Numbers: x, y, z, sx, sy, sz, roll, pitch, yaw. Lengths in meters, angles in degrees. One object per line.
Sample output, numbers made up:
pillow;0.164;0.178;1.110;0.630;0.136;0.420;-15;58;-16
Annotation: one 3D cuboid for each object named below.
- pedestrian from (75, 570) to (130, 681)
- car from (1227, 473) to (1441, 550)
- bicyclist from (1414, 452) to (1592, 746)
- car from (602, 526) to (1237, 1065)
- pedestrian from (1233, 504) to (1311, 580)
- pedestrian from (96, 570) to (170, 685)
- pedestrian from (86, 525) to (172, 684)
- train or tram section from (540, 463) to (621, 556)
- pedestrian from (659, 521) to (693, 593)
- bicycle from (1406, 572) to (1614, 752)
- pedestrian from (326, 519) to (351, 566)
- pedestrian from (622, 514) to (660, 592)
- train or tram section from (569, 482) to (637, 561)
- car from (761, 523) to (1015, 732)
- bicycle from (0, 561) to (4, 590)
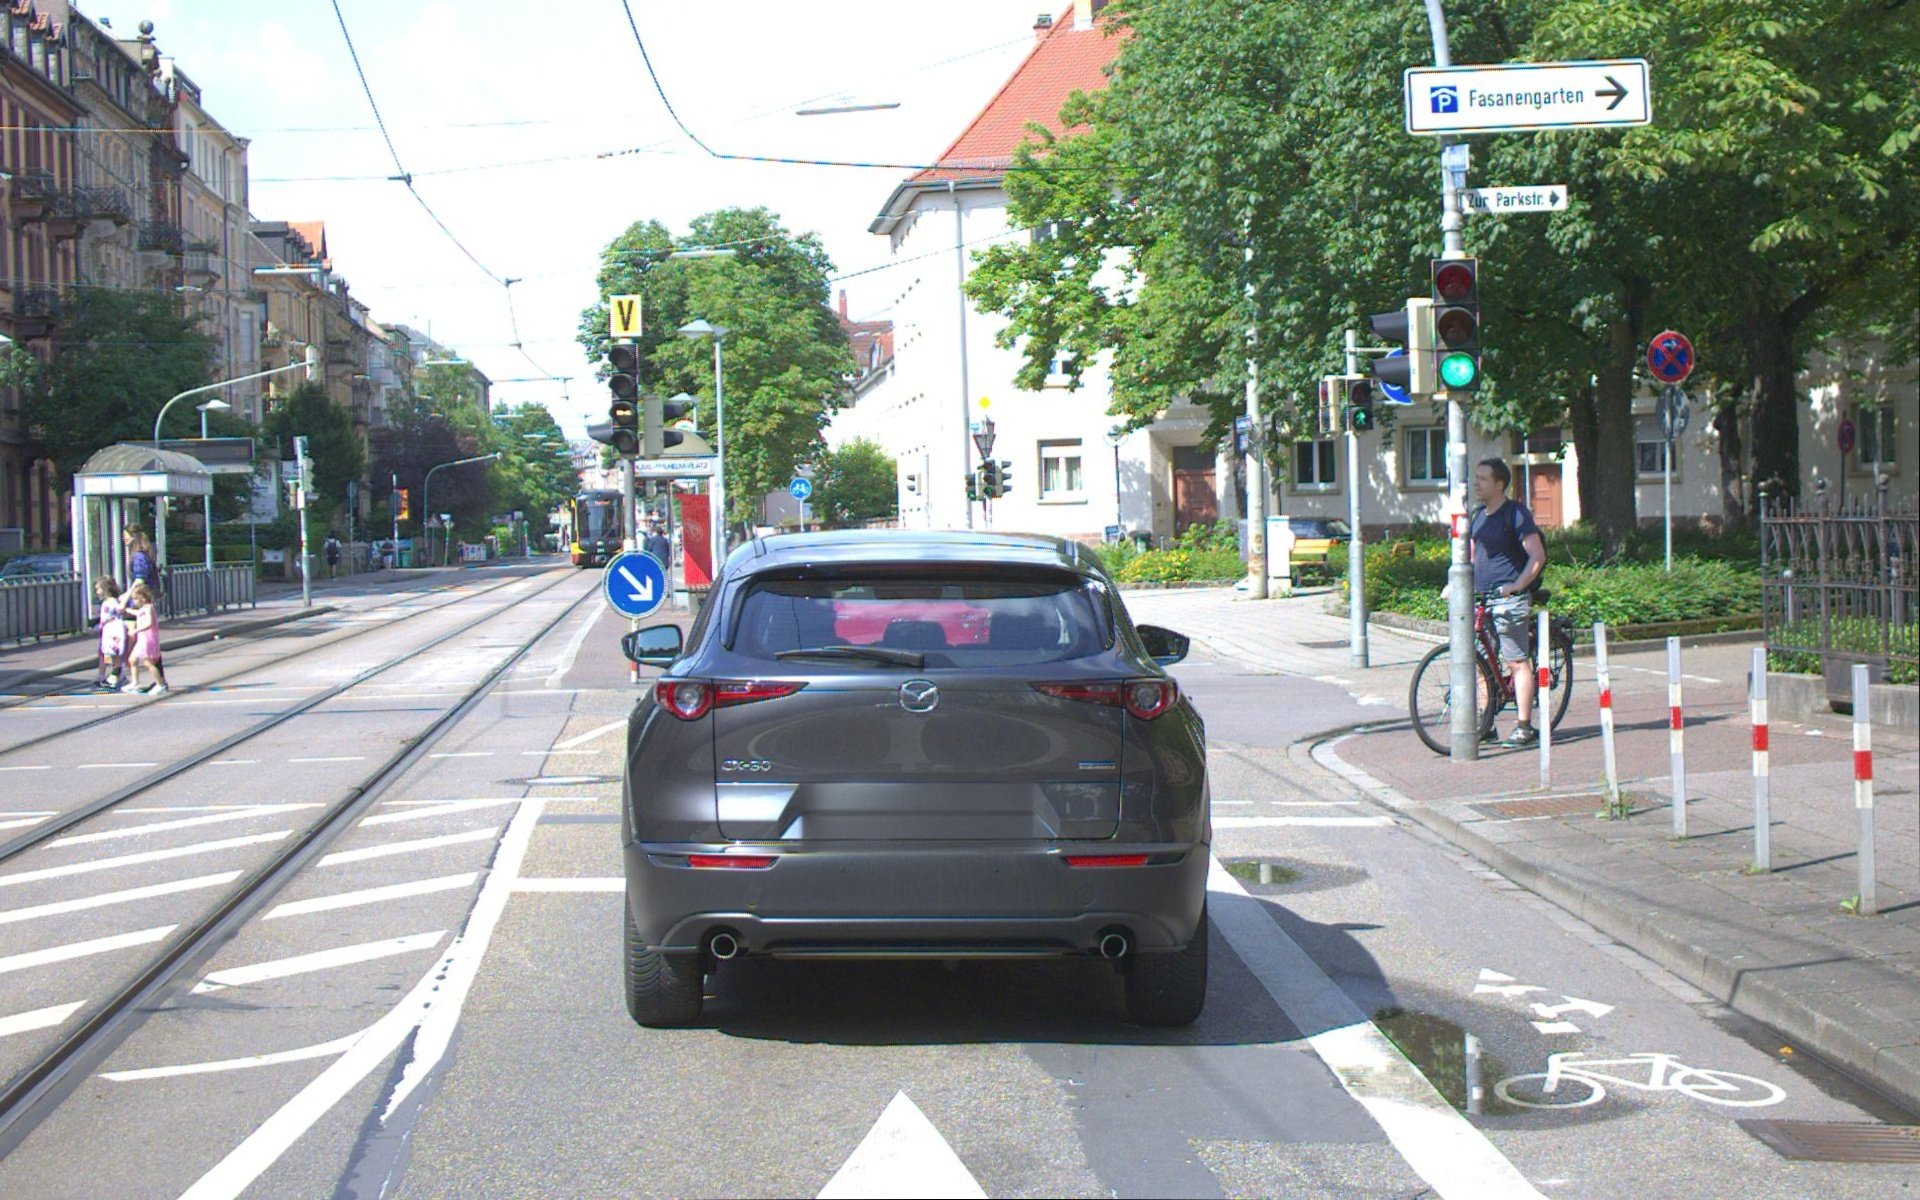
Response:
pedestrian;-8.771;0.258;35.179;0.437;1.104;0.423;-4;1;-9
car;8.016;-1.889;73.813;4.167;1.504;1.848;0;3;38
bicyclist;3.443;-0.015;21.840;0.733;1.813;0.820;-2;1;-27
car;-0.138;0.522;11.747;1.782;1.509;4.000;1;1;-1
pedestrian;5.503;-1.021;60.614;1.192;1.264;0.558;-4;1;-9
pedestrian;-8.188;0.272;34.043;0.641;1.110;0.444;-2;1;-9
pedestrian;-8.367;0.036;34.640;0.728;1.560;0.799;-2;1;-9
train or tram section;-17.456;-4.088;159.061;2.997;3.970;13.811;-2;1;-4
pedestrian;-6.097;-0.925;73.751;0.667;1.540;0.581;-2;1;-5
bicycle;3.527;0.375;21.947;0.389;1.032;1.841;-1;2;40
pedestrian;-22.661;-2.103;125.371;0.788;1.682;0.732;-1;1;-3
pedestrian;-6.991;-1.031;75.325;0.770;1.669;0.668;-2;1;-5
train or tram section;-19.314;-4.179;186.627;2.997;3.970;13.811;-2;1;-4
car;-0.589;0.153;25.986;1.775;1.459;3.843;0;1;-3
bicycle;-25.091;-0.606;87.405;0.386;0.745;1.708;-1;2;31
